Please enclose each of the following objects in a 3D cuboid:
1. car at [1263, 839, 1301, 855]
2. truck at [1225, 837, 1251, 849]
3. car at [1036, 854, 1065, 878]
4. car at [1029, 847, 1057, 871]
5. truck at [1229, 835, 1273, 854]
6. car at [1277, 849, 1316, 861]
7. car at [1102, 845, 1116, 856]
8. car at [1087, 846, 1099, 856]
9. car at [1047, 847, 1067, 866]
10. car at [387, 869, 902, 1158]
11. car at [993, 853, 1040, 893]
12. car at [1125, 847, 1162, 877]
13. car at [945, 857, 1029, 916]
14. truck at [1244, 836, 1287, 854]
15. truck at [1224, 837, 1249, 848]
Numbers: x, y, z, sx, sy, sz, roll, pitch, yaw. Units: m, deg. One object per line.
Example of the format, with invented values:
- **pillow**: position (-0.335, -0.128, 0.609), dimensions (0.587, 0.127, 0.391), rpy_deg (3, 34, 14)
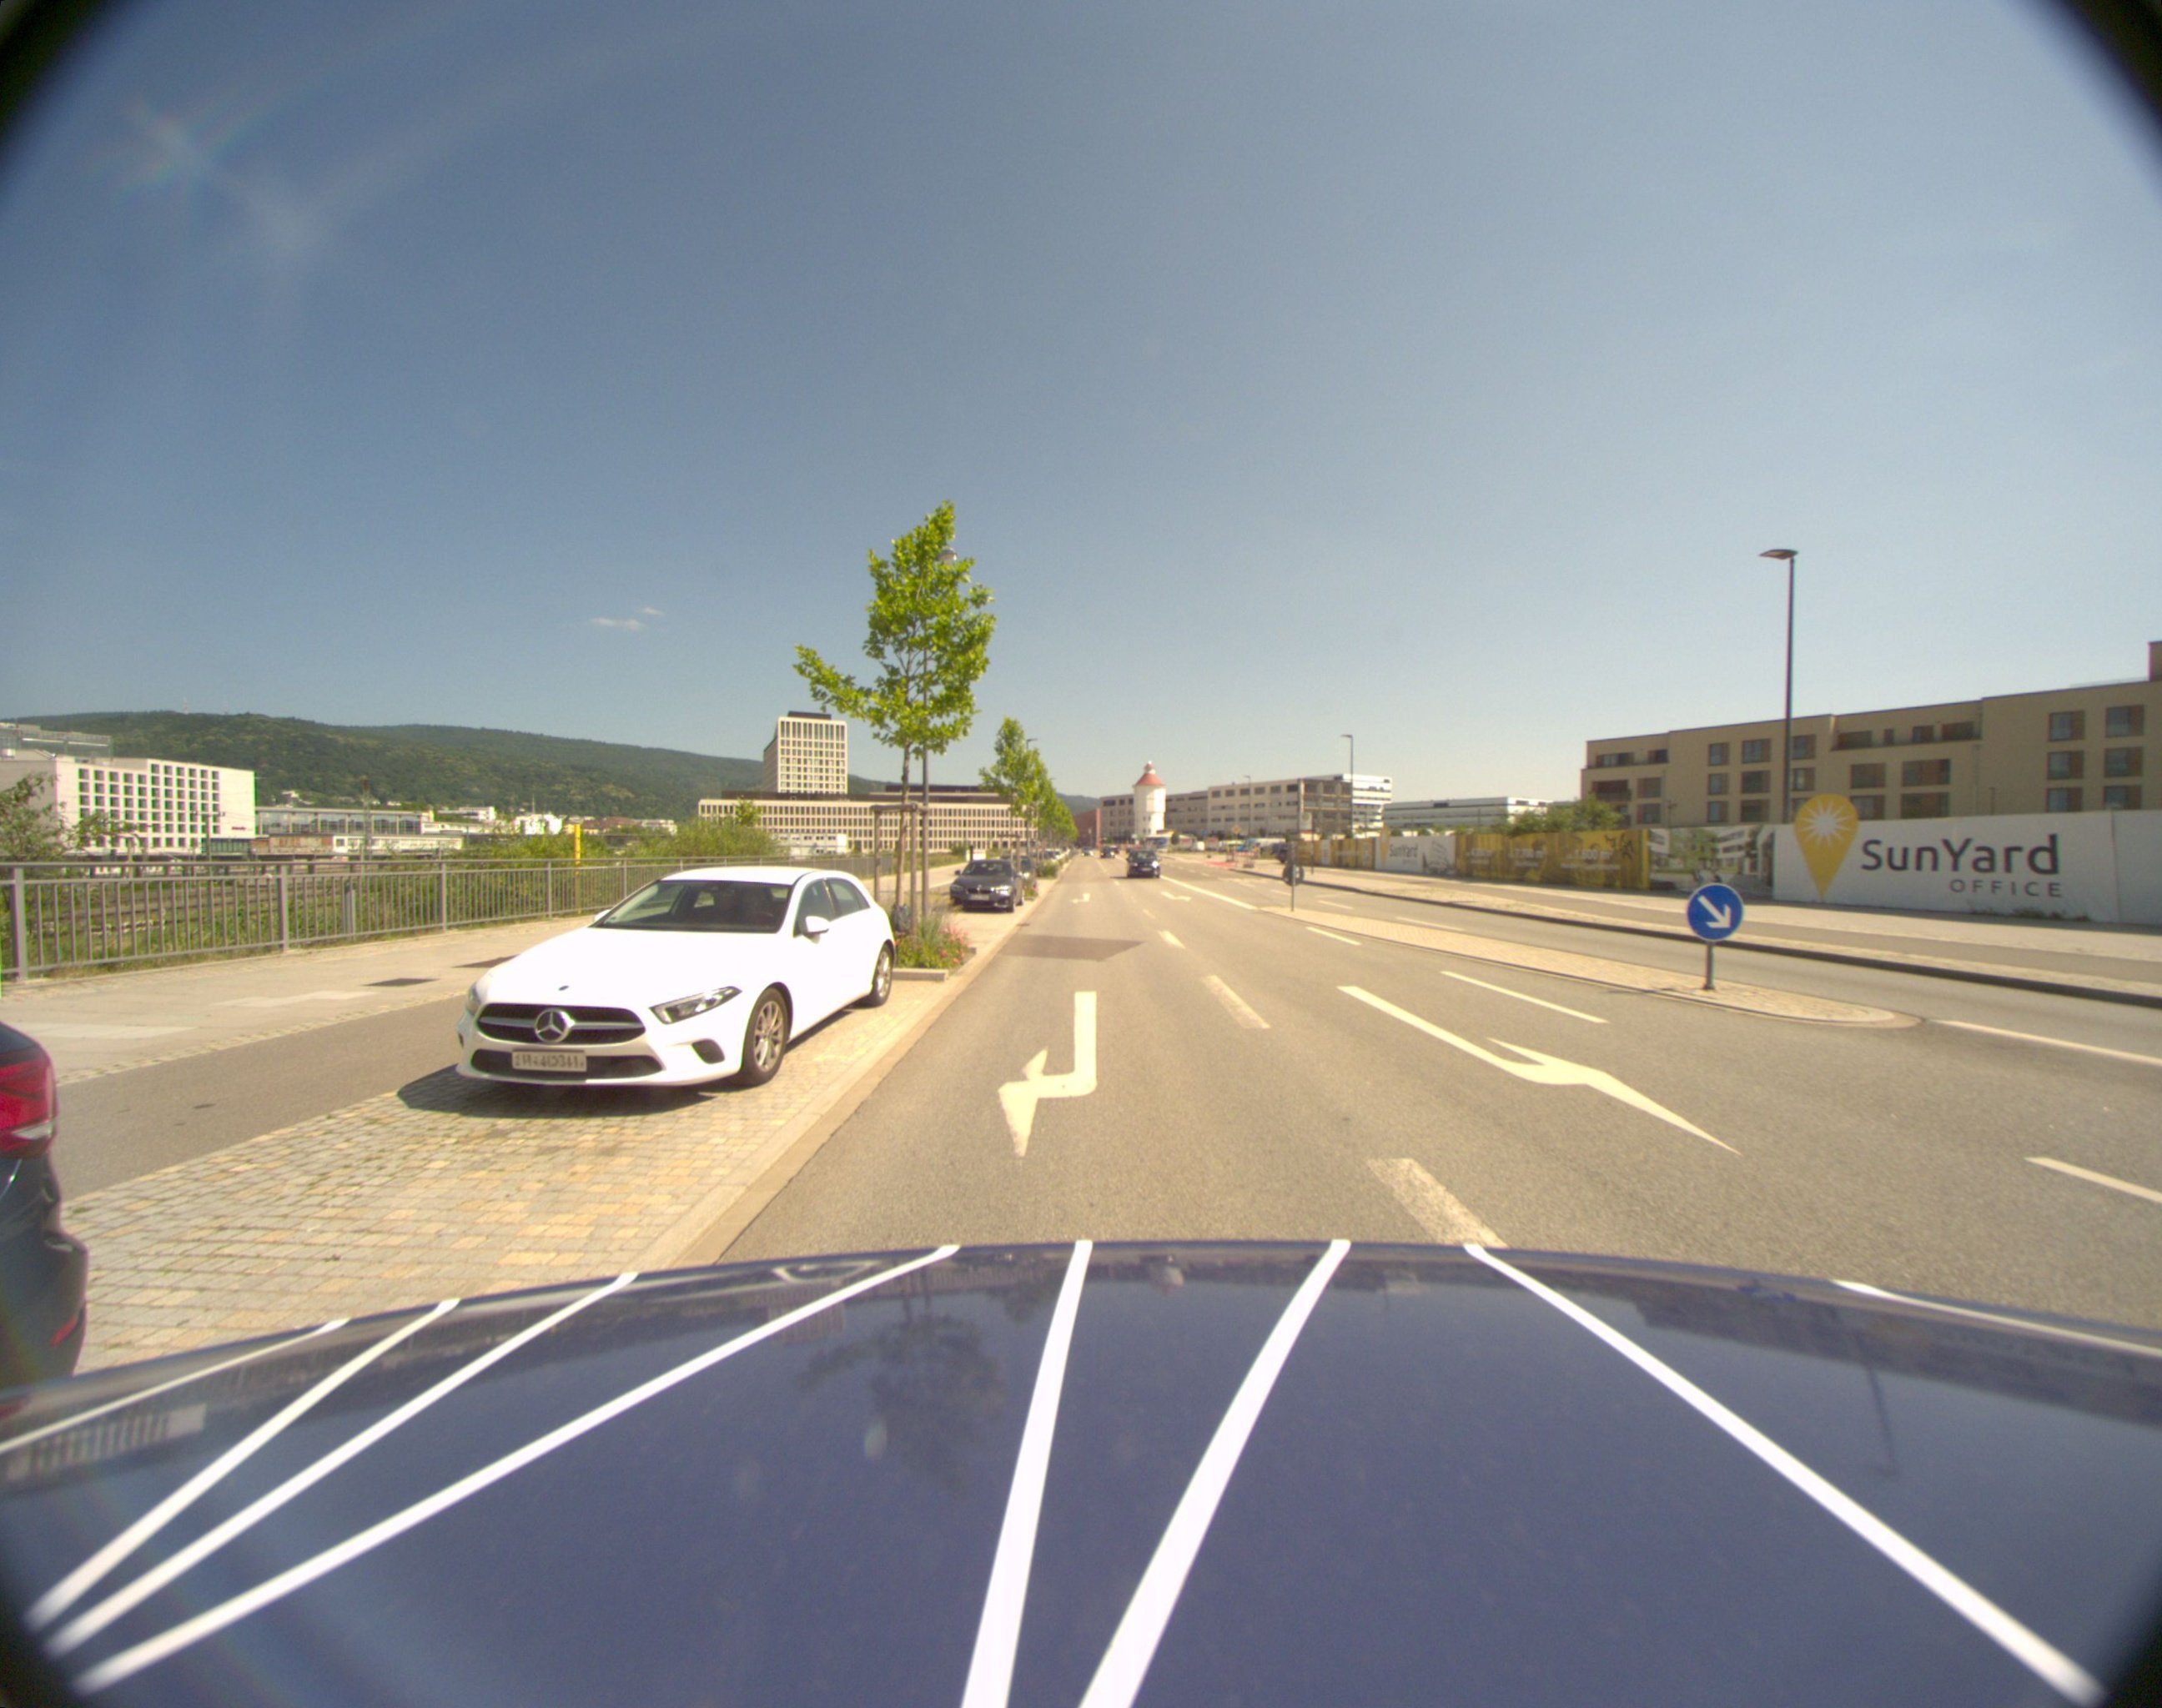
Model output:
- **car**: position (23.794, -0.857, 90.135), dimensions (3.930, 1.708, 1.891), rpy_deg (-2, 1, -4)
- **truck**: position (35.364, -2.432, 170.982), dimensions (5.332, 2.461, 1.999), rpy_deg (-2, 1, -3)
- **car**: position (-1.738, 0.685, 44.438), dimensions (1.490, 1.302, 3.155), rpy_deg (-1, 1, 1)
- **car**: position (-2.722, 0.360, 55.085), dimensions (1.768, 1.609, 3.374), rpy_deg (-3, 1, 1)
- **truck**: position (23.929, -1.275, 106.911), dimensions (5.633, 2.461, 1.999), rpy_deg (-2, 1, -3)
- **car**: position (20.341, 0.082, 71.826), dimensions (3.359, 0.947, 1.293), rpy_deg (-2, 1, 3)
- **car**: position (3.485, -0.467, 96.050), dimensions (1.709, 1.404, 4.000), rpy_deg (-2, 1, 2)
- **car**: position (1.826, -0.524, 115.914), dimensions (1.819, 1.458, 4.346), rpy_deg (-2, 1, 2)
- **car**: position (-2.009, 0.212, 64.182), dimensions (1.525, 1.482, 3.505), rpy_deg (-2, 1, 1)
- **car**: position (-2.891, 0.917, 6.280), dimensions (1.710, 1.366, 4.270), rpy_deg (3, 1, 1)
- **car**: position (-2.625, 0.750, 31.495), dimensions (1.569, 1.465, 3.007), rpy_deg (2, 1, 1)
- **car**: position (3.530, 0.407, 43.340), dimensions (1.808, 1.613, 3.916), rpy_deg (-2, 1, 1)
- **car**: position (-2.592, 0.863, 21.788), dimensions (1.808, 1.424, 3.916), rpy_deg (2, 1, 1)
- **truck**: position (24.145, -1.157, 99.509), dimensions (5.004, 2.215, 2.000), rpy_deg (-2, 1, 0)
- **truck**: position (36.547, -2.763, 178.855), dimensions (5.412, 2.461, 1.999), rpy_deg (-2, 1, -1)
